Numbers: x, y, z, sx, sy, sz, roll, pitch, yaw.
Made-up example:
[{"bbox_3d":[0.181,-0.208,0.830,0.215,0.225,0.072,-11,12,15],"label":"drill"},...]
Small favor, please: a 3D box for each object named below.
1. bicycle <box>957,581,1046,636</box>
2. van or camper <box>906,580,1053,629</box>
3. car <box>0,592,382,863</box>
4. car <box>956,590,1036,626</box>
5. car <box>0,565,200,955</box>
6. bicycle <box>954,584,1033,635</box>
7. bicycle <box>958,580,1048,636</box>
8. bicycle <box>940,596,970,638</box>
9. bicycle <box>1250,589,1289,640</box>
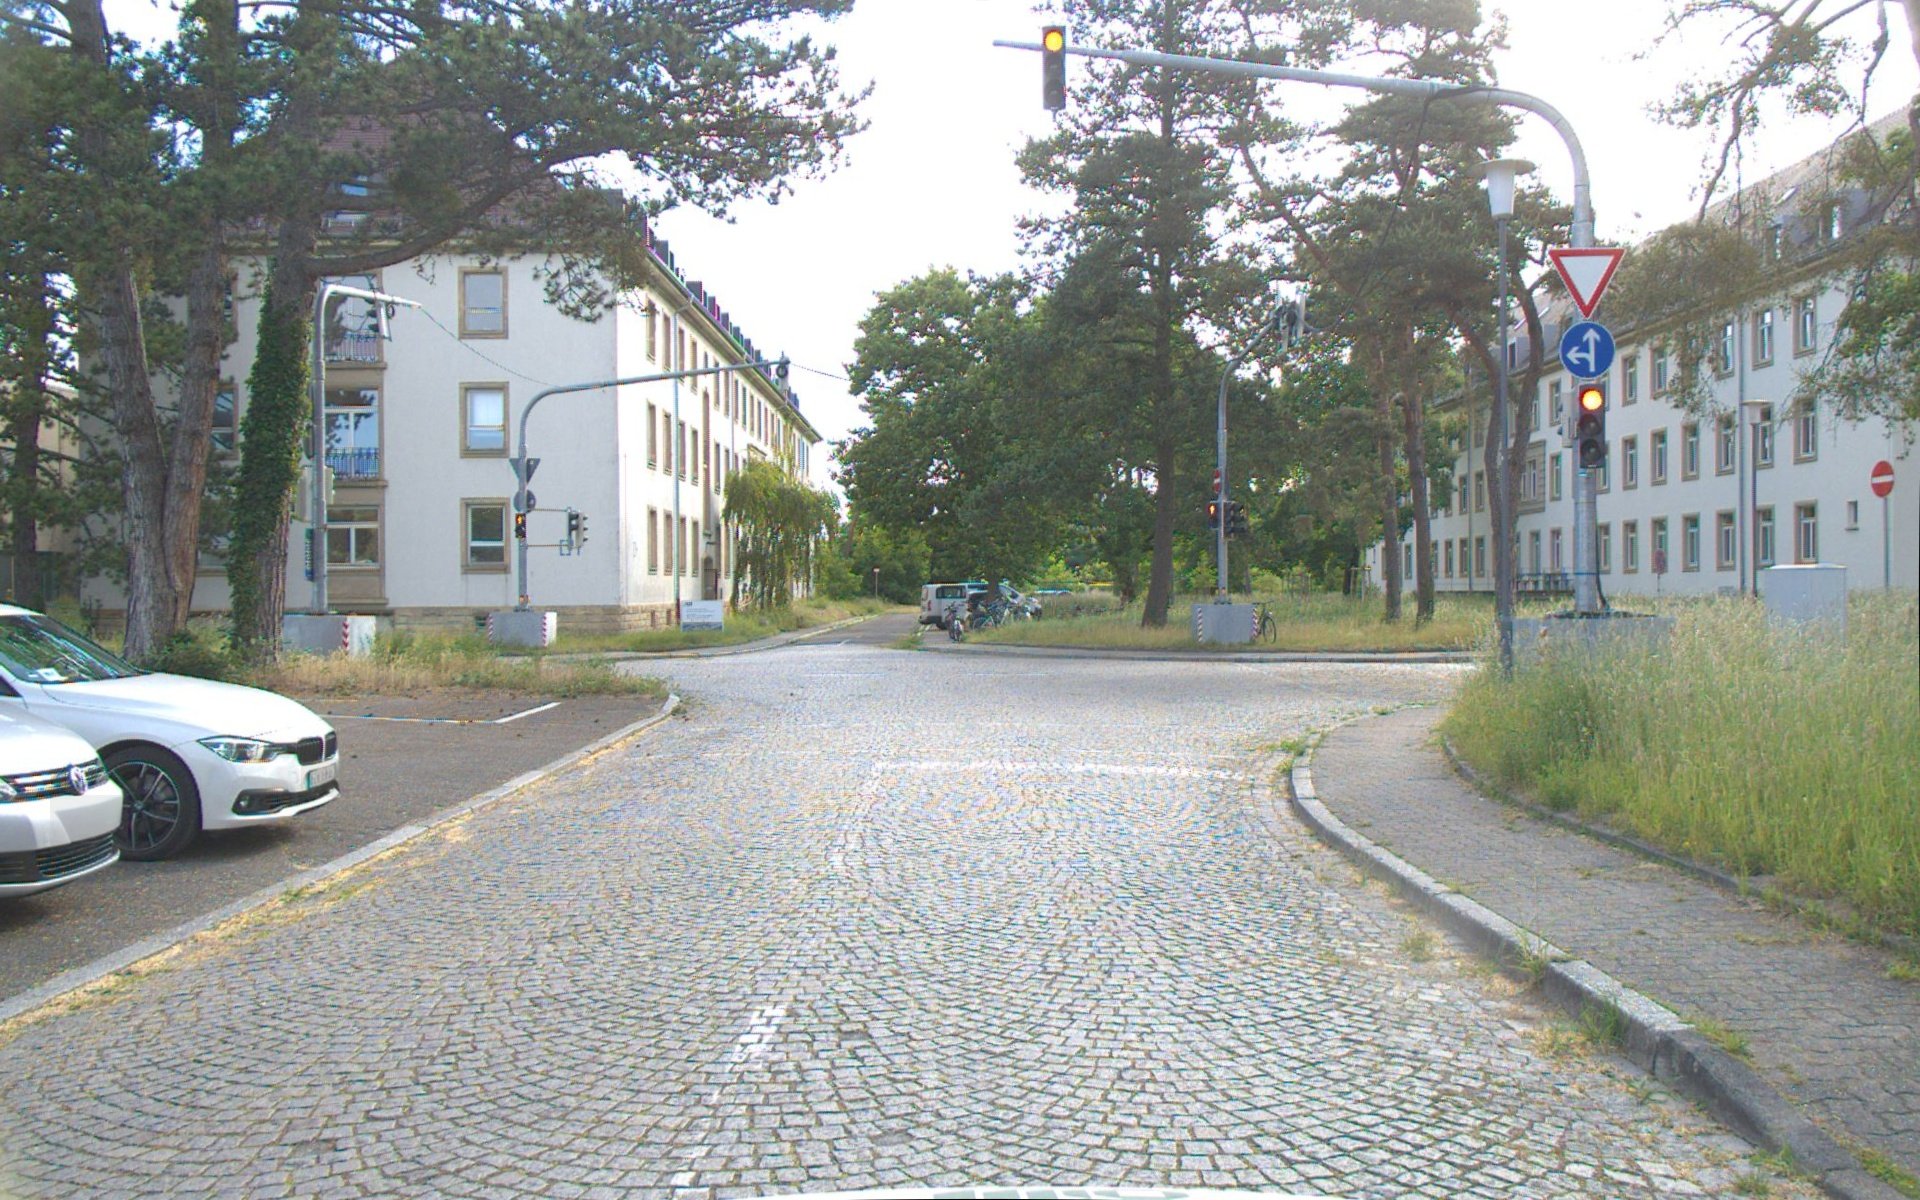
[{"bbox_3d":[1.317,0.264,53.395,2.723,1.723,1.118,-1,0,-8],"label":"bicycle"},{"bbox_3d":[0.824,0.181,70.170,5.929,1.983,1.993,-1,0,-14],"label":"van or camper"},{"bbox_3d":[-6.094,0.693,10.195,4.389,1.467,1.829,2,0,-4],"label":"car"},{"bbox_3d":[1.440,0.312,66.594,3.077,1.378,1.618,-1,0,-6],"label":"car"},{"bbox_3d":[-5.858,0.616,7.731,3.755,1.635,1.735,2,0,-3],"label":"car"},{"bbox_3d":[1.184,0.326,58.298,2.718,1.723,1.120,2,0,1],"label":"bicycle"},{"bbox_3d":[1.341,0.242,52.200,2.722,1.723,1.119,-1,0,-6],"label":"bicycle"},{"bbox_3d":[-0.132,0.475,47.918,0.711,1.127,2.462,-5,0,1],"label":"bicycle"},{"bbox_3d":[7.556,0.345,40.415,0.708,1.189,2.739,1,0,6],"label":"bicycle"}]
